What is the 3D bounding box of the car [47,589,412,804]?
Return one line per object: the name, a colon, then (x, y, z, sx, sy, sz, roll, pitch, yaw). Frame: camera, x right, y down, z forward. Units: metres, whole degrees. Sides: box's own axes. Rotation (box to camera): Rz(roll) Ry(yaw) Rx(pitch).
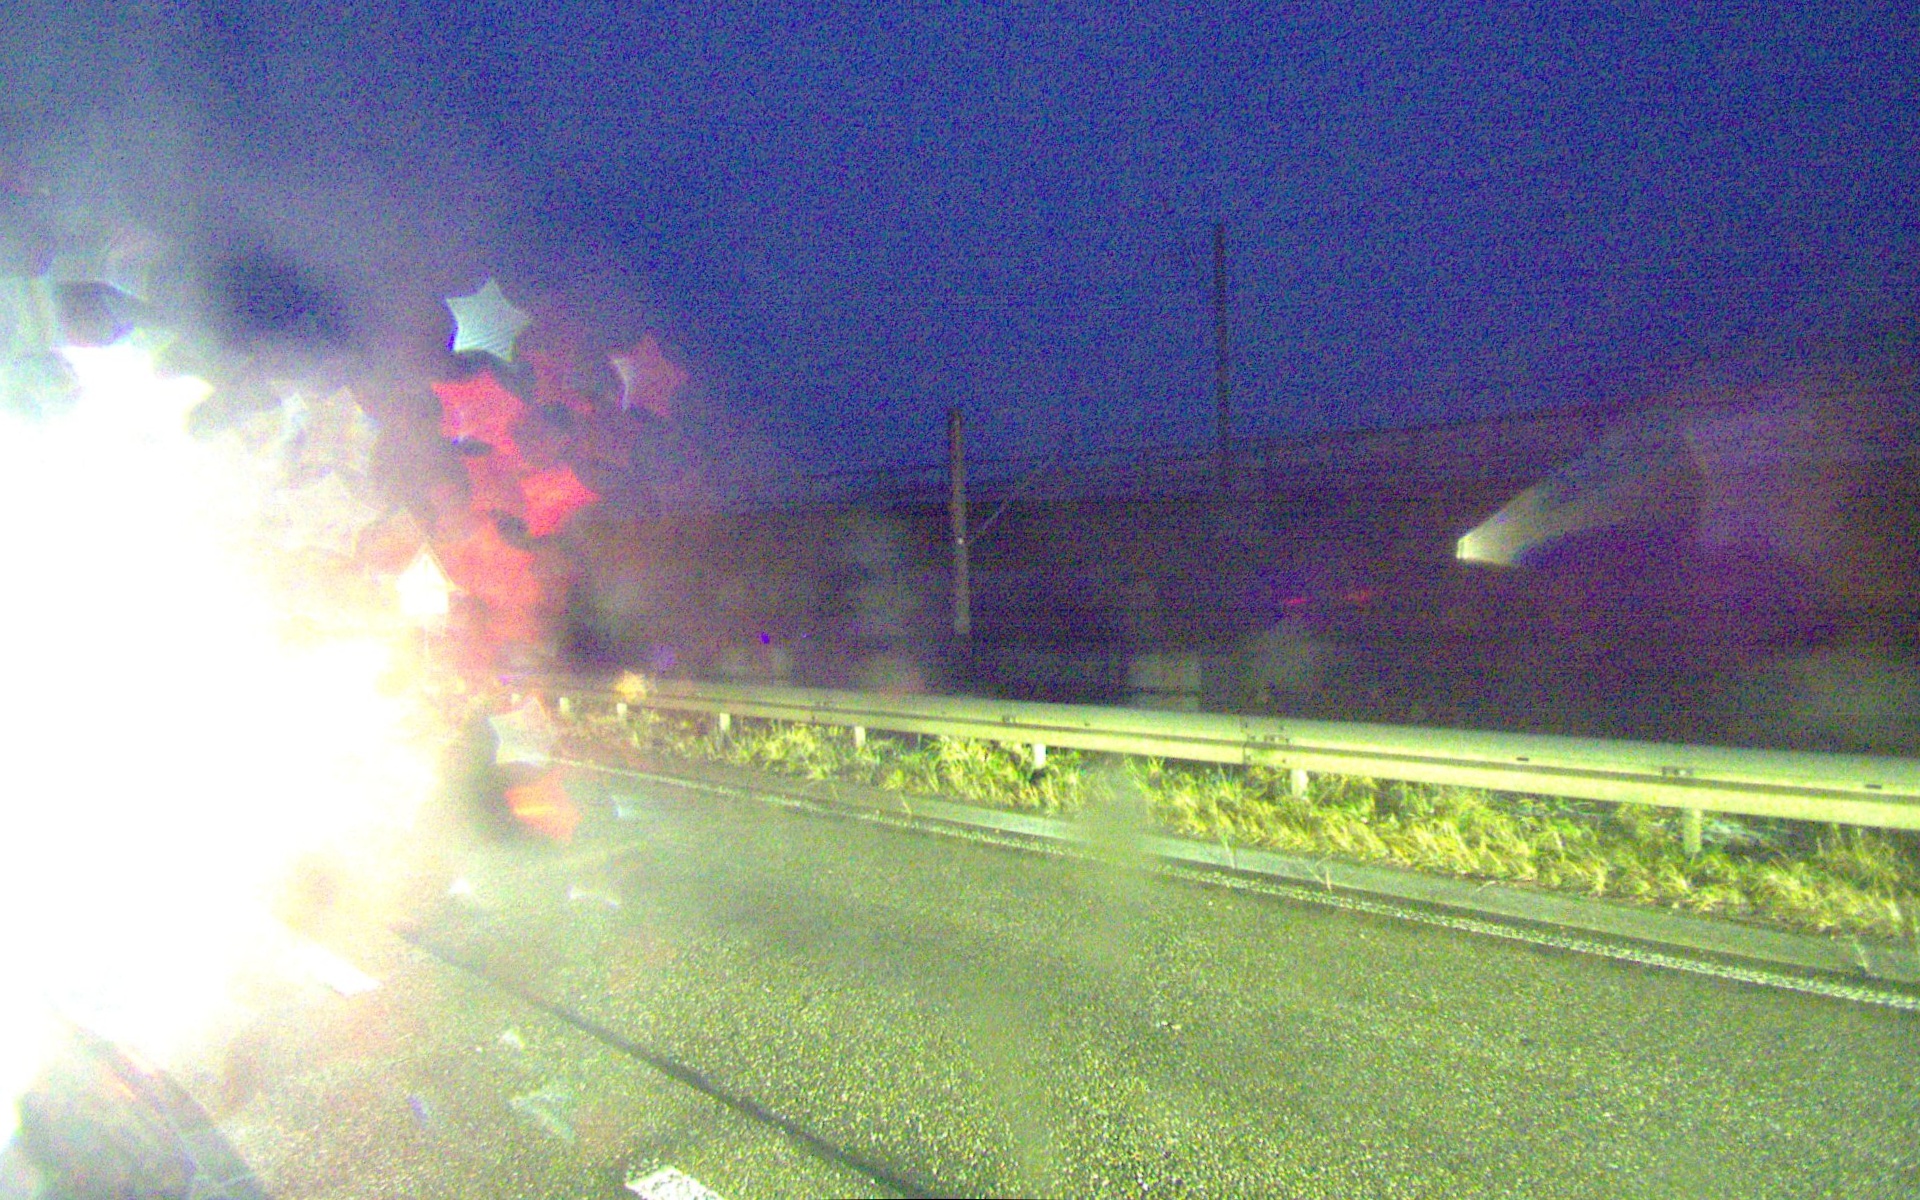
car: (-7.280, 0.807, 9.953, 4.120, 1.668, 1.932, -1, -2, 40)
